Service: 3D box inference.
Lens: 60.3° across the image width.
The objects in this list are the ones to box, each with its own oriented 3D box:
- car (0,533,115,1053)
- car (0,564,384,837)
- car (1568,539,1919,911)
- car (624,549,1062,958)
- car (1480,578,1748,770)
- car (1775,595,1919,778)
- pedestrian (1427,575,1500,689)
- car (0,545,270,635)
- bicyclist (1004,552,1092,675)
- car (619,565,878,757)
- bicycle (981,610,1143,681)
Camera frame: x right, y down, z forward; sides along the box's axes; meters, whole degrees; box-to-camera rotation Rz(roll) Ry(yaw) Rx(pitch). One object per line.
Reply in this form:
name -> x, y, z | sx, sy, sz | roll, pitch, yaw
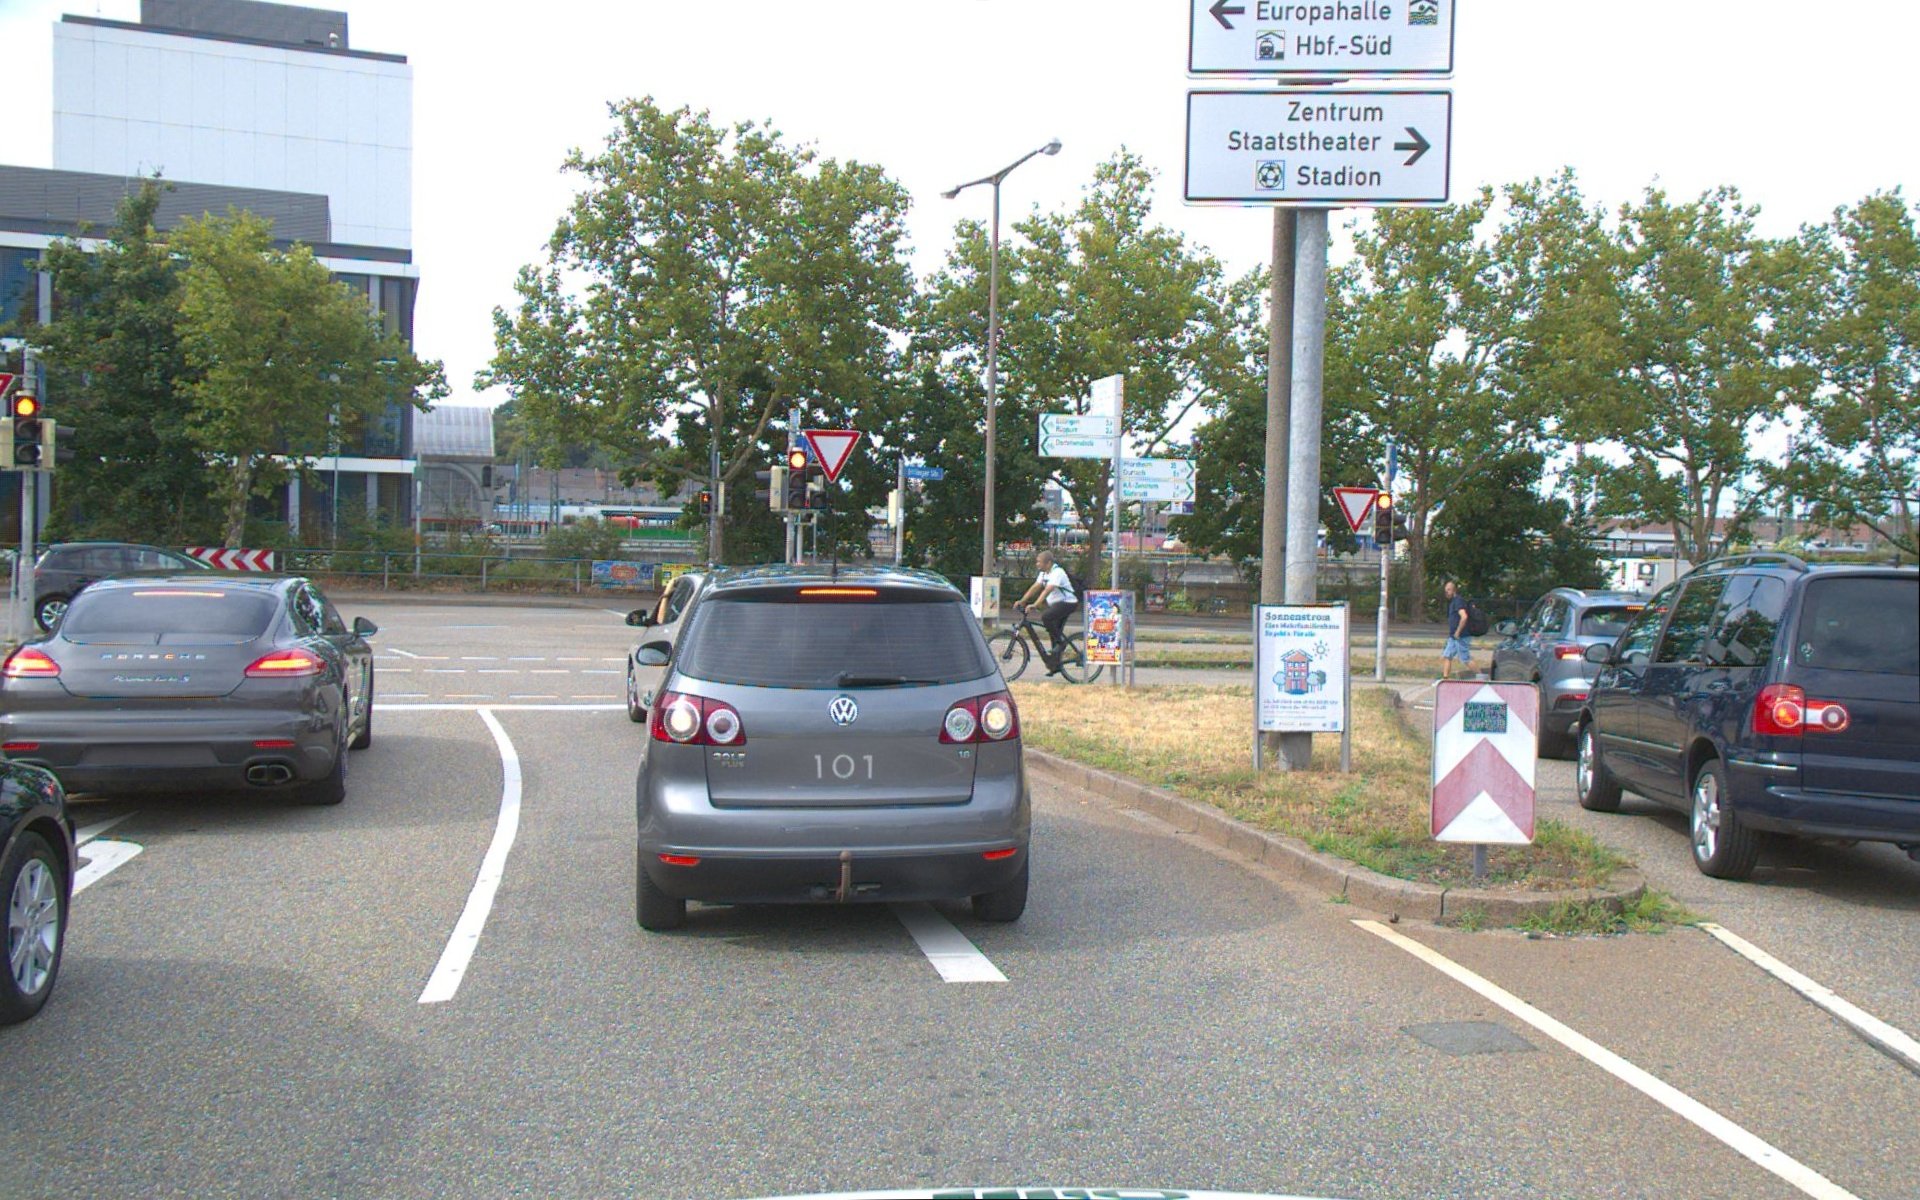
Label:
car -> -3.630, 0.617, 3.899 | 1.725, 1.602, 4.028 | 1, 2, -9
car -> -5.039, 0.506, 11.361 | 1.789, 1.438, 4.755 | 1, 1, -17
car -> 5.082, 0.625, 9.994 | 1.713, 1.754, 4.141 | 3, 0, 8
car -> -0.763, 0.572, 8.515 | 1.709, 1.573, 4.073 | 1, 1, -9
car -> 6.481, 0.656, 16.838 | 1.655, 1.613, 4.160 | 3, 0, 10
car -> 9.965, 0.832, 16.925 | 1.713, 1.671, 4.141 | 3, 0, 9
pedestrian -> 7.987, 0.496, 26.284 | 1.025, 1.740, 0.854 | 2, 1, 16
car -> -13.621, -0.157, 27.347 | 3.998, 1.391, 1.692 | 1, 1, -21
bicyclist -> 1.259, 0.182, 23.745 | 1.092, 1.726, 0.811 | 1, 1, -11
car -> -2.073, 0.453, 15.196 | 1.713, 1.508, 4.063 | 1, 1, -17
bicycle -> 1.462, 0.650, 23.794 | 2.188, 0.969, 0.809 | 1, 1, -11
